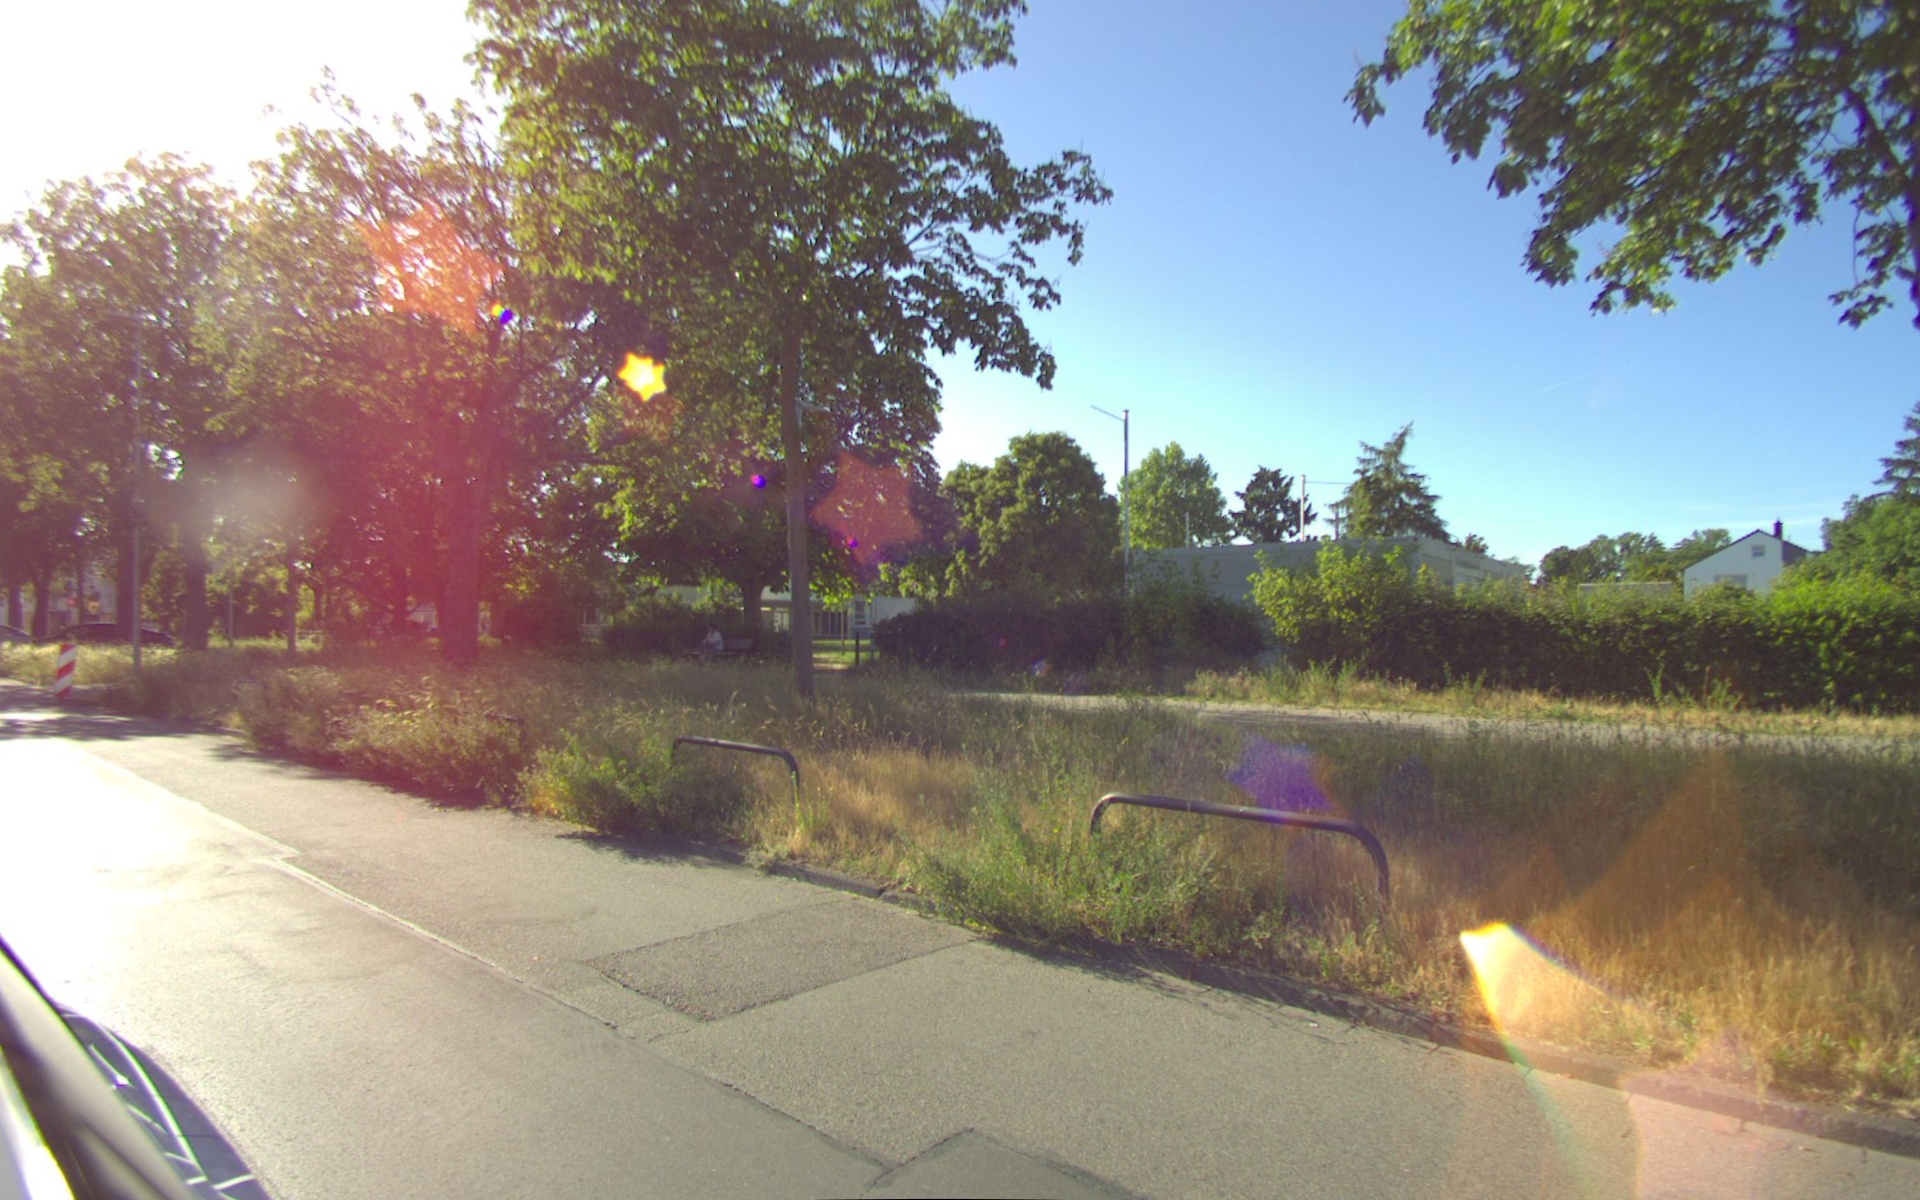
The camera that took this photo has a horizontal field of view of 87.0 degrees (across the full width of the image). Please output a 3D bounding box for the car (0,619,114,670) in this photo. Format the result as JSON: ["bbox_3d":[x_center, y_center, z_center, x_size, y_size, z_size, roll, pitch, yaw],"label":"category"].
[{"bbox_3d":[-30.570,1.442,32.829,1.999,1.573,4.556,-1,-1,41],"label":"car"}]

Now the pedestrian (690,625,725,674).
[{"bbox_3d":[-6.362,1.236,25.498,0.521,1.166,0.632,-1,2,39],"label":"pedestrian"}]

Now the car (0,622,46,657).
[{"bbox_3d":[-45.053,1.850,46.657,1.999,1.573,4.150,-1,-1,41],"label":"car"}]
